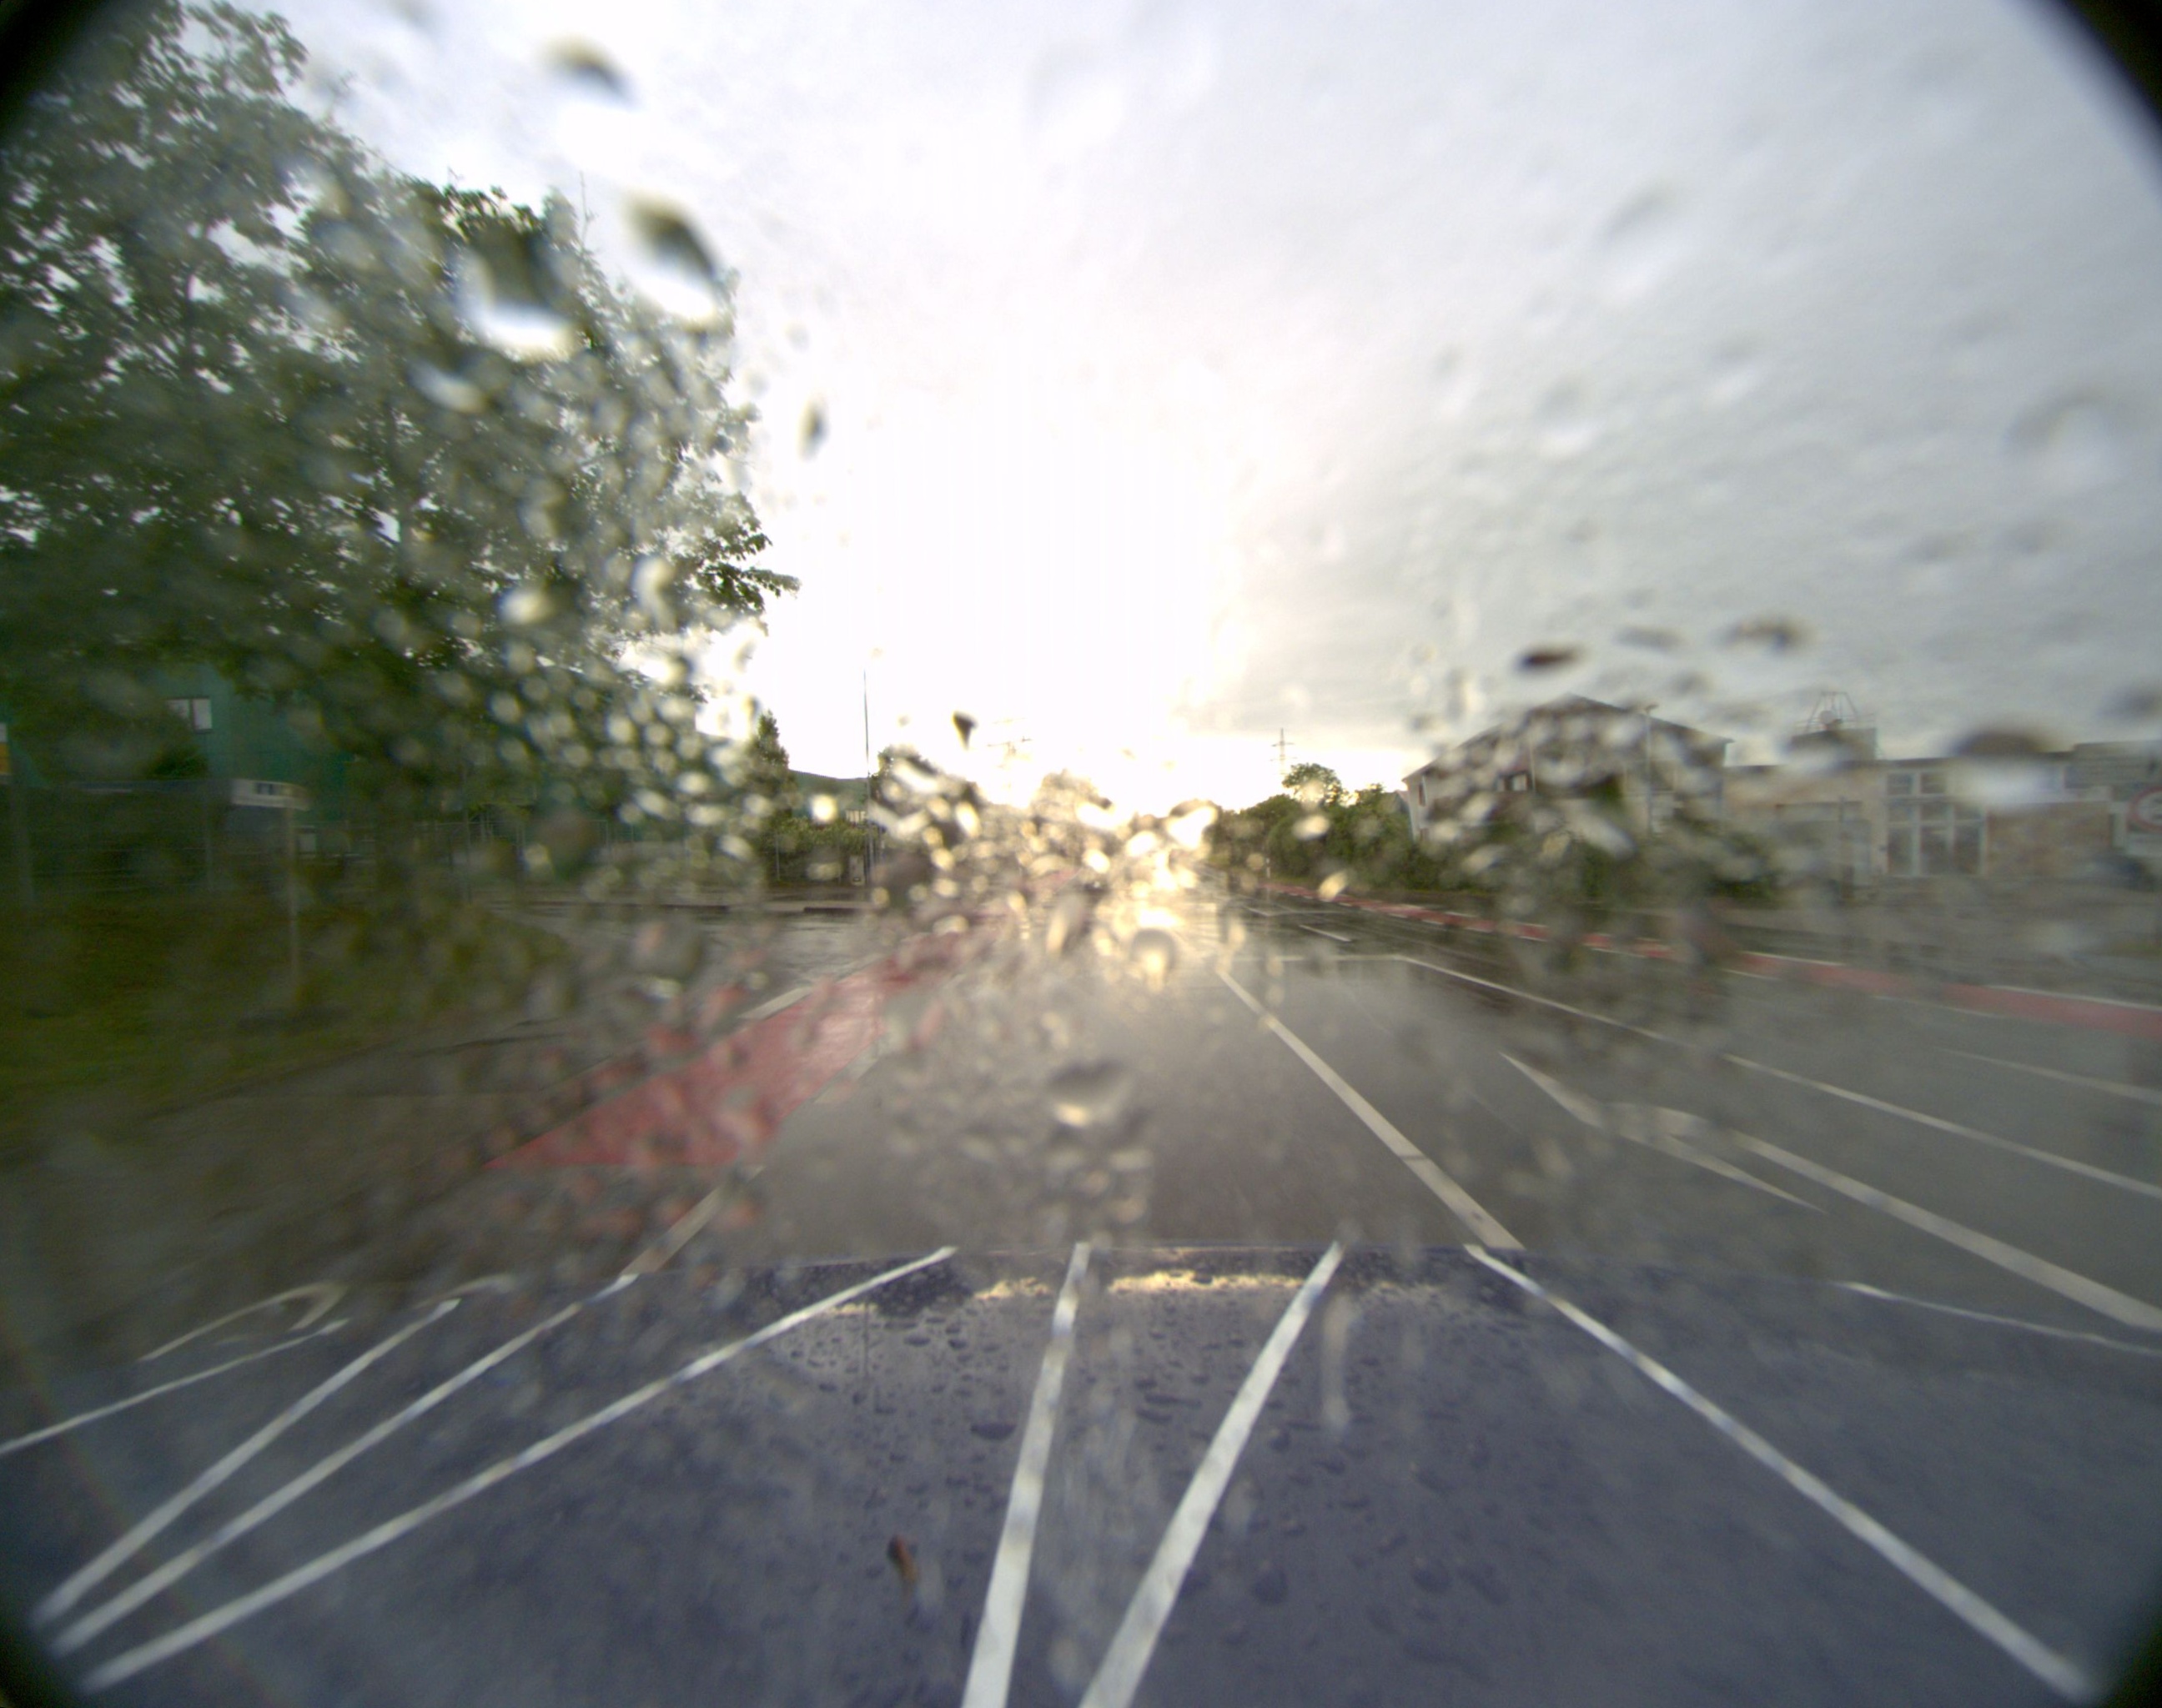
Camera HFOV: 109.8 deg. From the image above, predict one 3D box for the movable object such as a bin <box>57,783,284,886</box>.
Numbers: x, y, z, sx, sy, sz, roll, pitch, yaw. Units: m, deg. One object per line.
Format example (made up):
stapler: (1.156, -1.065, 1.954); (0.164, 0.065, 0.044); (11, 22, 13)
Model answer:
movable object such as a bin: (-14.164, -0.286, 11.923); (1.859, 1.492, 1.309); (1, 1, -13)

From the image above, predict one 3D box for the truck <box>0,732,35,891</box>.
truck: (-17.743, -0.626, 9.795); (5.648, 2.201, 2.112); (1, 1, 1)

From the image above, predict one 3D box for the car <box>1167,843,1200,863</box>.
car: (9.875, -0.021, 73.819); (2.360, 1.805, 6.879); (1, -1, 1)

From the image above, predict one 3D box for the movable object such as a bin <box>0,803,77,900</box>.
movable object such as a bin: (-11.960, -0.036, 8.186); (0.883, 1.036, 1.053); (1, 1, 3)

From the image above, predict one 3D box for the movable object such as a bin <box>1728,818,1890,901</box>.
movable object such as a bin: (23.346, 0.153, 24.487); (3.335, 2.542, 1.739); (1, 1, 8)

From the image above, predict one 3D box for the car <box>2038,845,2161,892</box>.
car: (37.615, 0.496, 27.260); (1.996, 1.546, 4.004); (1, 0, 13)

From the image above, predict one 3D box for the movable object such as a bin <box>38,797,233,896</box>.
movable object such as a bin: (-11.829, -0.092, 9.562); (1.026, 1.155, 1.142); (1, 1, 1)
